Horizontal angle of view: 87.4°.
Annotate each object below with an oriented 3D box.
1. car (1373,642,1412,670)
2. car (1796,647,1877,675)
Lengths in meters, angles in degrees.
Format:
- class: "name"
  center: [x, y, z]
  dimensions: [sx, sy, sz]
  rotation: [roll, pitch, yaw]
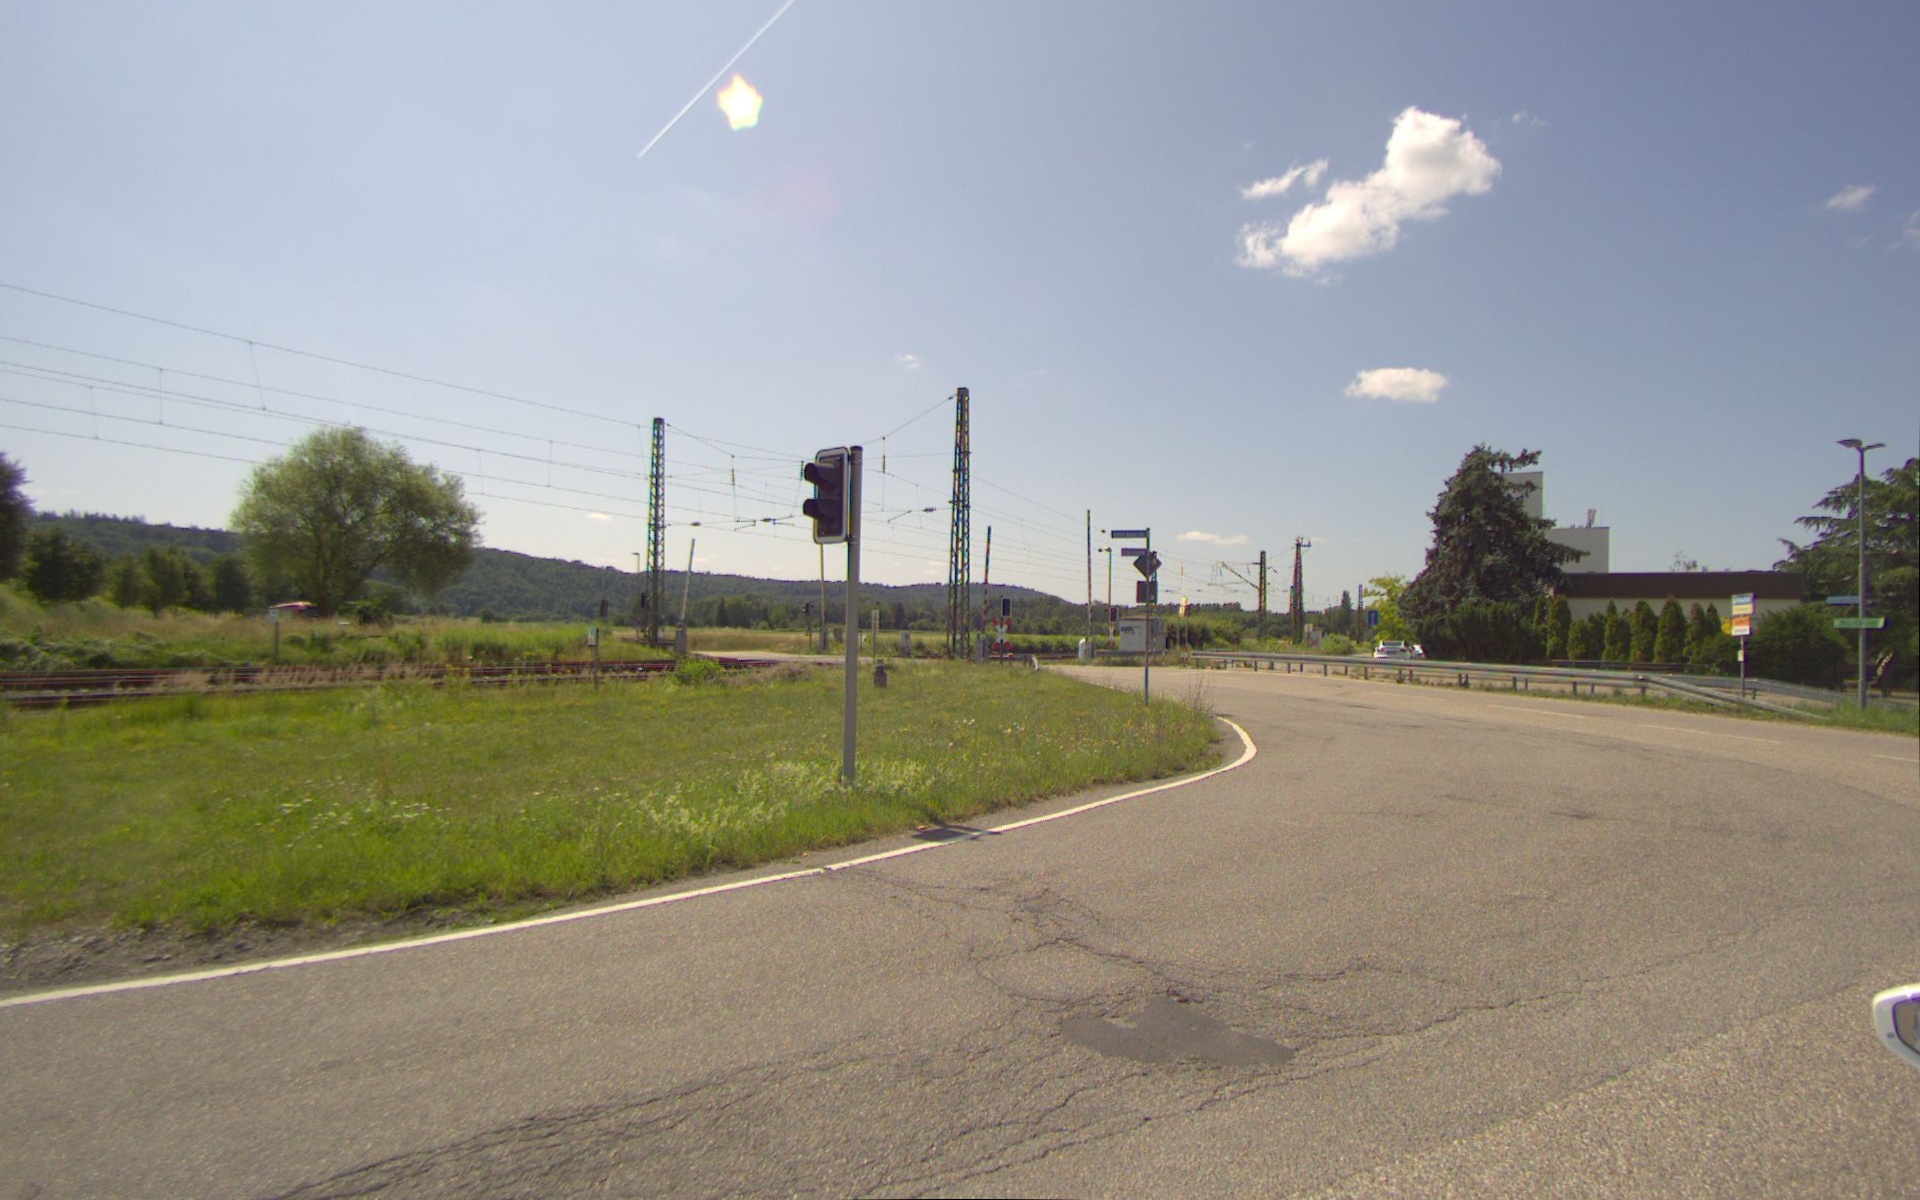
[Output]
- class: "car"
  center: [25.111, 3.213, 58.244]
  dimensions: [1.962, 1.530, 4.451]
  rotation: [0, -2, 24]
- class: "car"
  center: [54.127, 3.751, 62.119]
  dimensions: [3.471, 1.606, 1.564]
  rotation: [1, -1, 27]
